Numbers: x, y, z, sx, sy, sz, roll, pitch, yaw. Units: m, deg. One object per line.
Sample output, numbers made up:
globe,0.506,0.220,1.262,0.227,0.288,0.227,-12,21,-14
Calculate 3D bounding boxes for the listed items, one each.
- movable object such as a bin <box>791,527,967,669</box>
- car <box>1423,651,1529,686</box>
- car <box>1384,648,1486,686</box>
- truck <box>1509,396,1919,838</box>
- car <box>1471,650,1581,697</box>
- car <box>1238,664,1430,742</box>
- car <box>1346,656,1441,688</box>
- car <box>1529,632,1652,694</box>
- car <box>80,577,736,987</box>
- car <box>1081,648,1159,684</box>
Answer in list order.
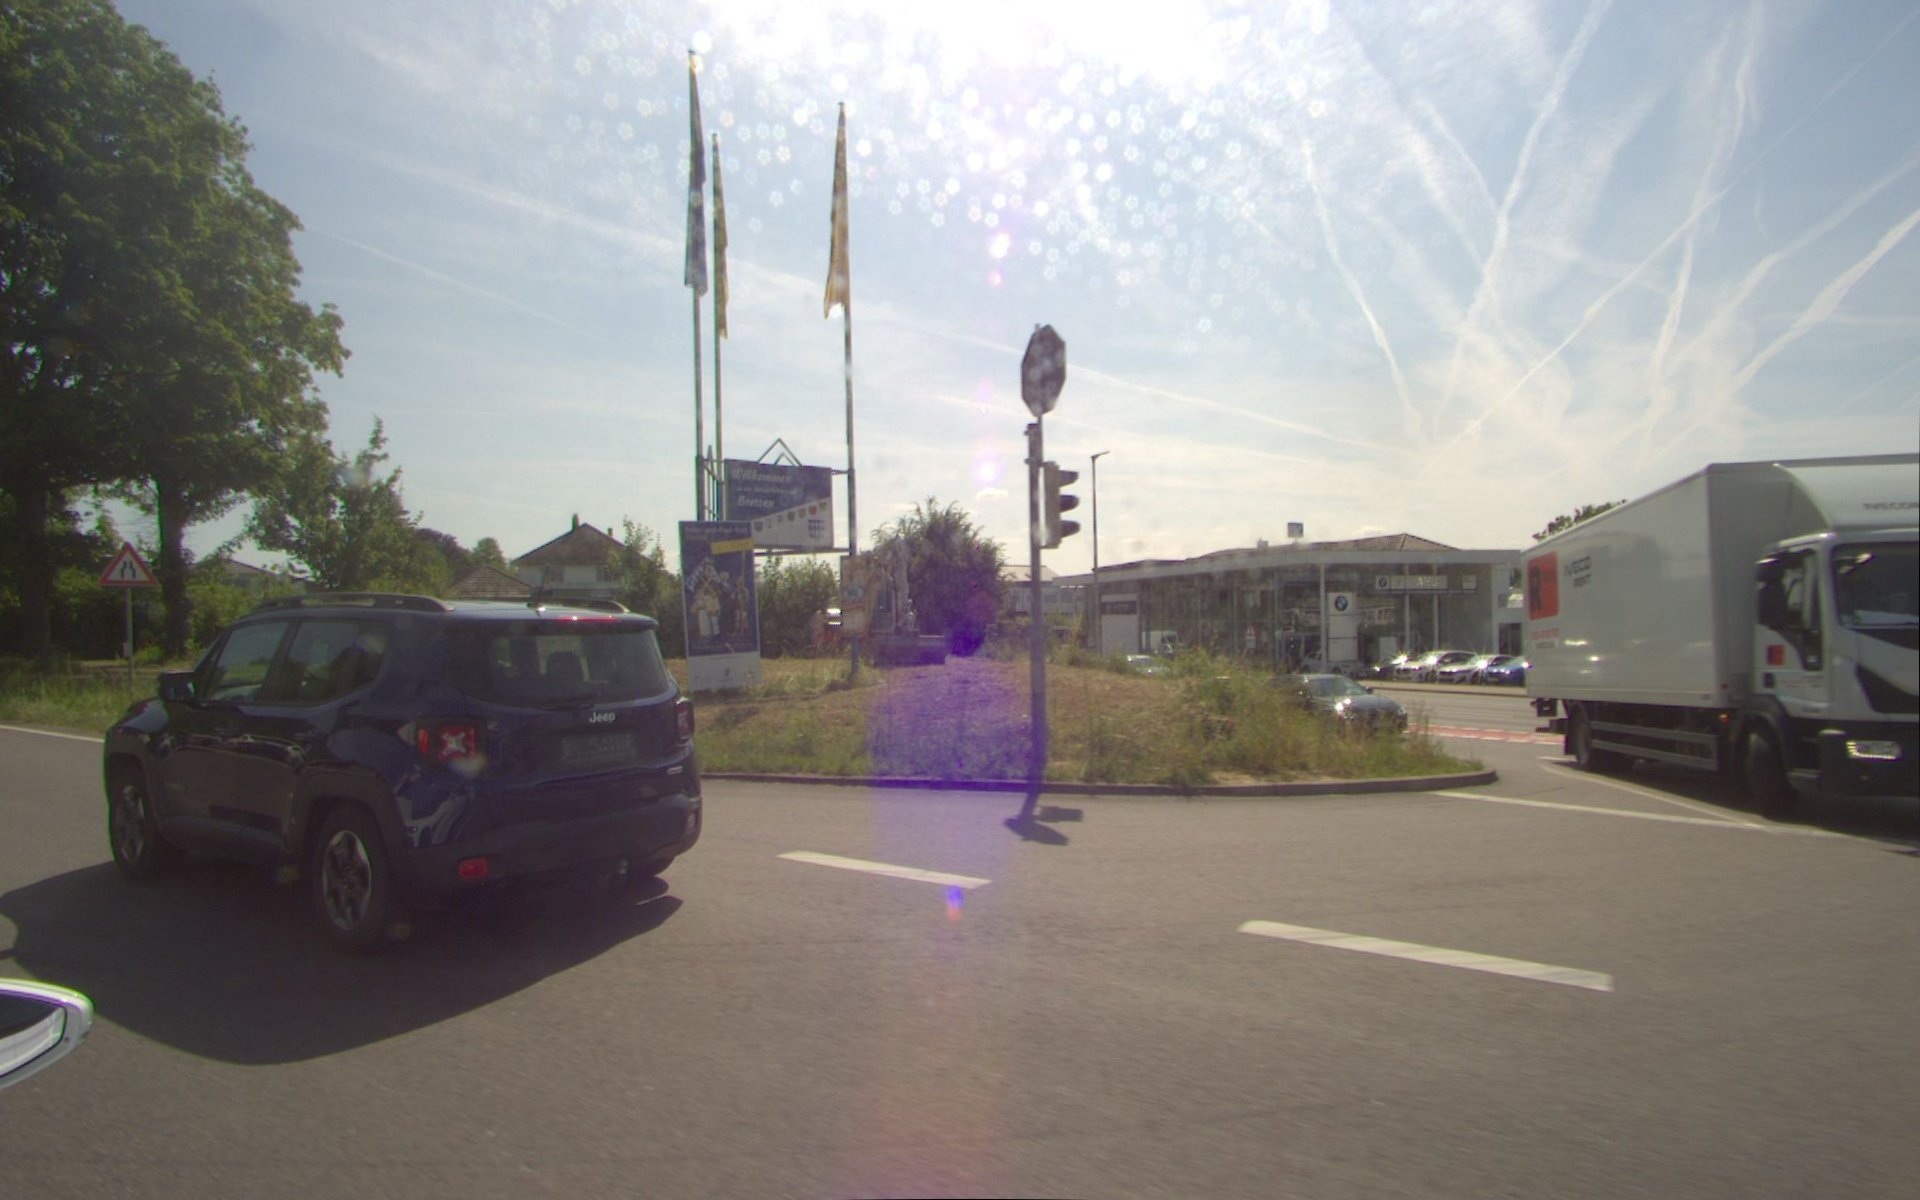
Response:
movable object such as a bin,-2.362,-0.051,26.524,2.852,3.250,6.686,-2,0,-21
car,22.135,2.901,42.952,3.934,1.205,1.994,-1,0,-23
car,21.458,2.994,45.215,3.932,1.391,1.995,-1,0,-20
truck,9.867,0.508,12.806,2.717,3.670,9.703,-1,-5,15
car,23.001,2.956,40.686,3.936,1.573,1.992,-1,1,-25
car,8.644,2.341,23.572,1.965,1.479,4.314,-1,-2,-18
car,20.528,3.387,47.462,3.934,1.194,1.994,-1,0,-23
car,23.942,2.321,38.045,4.015,2.062,2.061,-1,1,-24
car,-3.379,0.768,5.925,3.945,1.676,1.765,-1,1,34
car,7.401,3.040,46.653,1.964,1.479,4.317,-1,-2,-15
